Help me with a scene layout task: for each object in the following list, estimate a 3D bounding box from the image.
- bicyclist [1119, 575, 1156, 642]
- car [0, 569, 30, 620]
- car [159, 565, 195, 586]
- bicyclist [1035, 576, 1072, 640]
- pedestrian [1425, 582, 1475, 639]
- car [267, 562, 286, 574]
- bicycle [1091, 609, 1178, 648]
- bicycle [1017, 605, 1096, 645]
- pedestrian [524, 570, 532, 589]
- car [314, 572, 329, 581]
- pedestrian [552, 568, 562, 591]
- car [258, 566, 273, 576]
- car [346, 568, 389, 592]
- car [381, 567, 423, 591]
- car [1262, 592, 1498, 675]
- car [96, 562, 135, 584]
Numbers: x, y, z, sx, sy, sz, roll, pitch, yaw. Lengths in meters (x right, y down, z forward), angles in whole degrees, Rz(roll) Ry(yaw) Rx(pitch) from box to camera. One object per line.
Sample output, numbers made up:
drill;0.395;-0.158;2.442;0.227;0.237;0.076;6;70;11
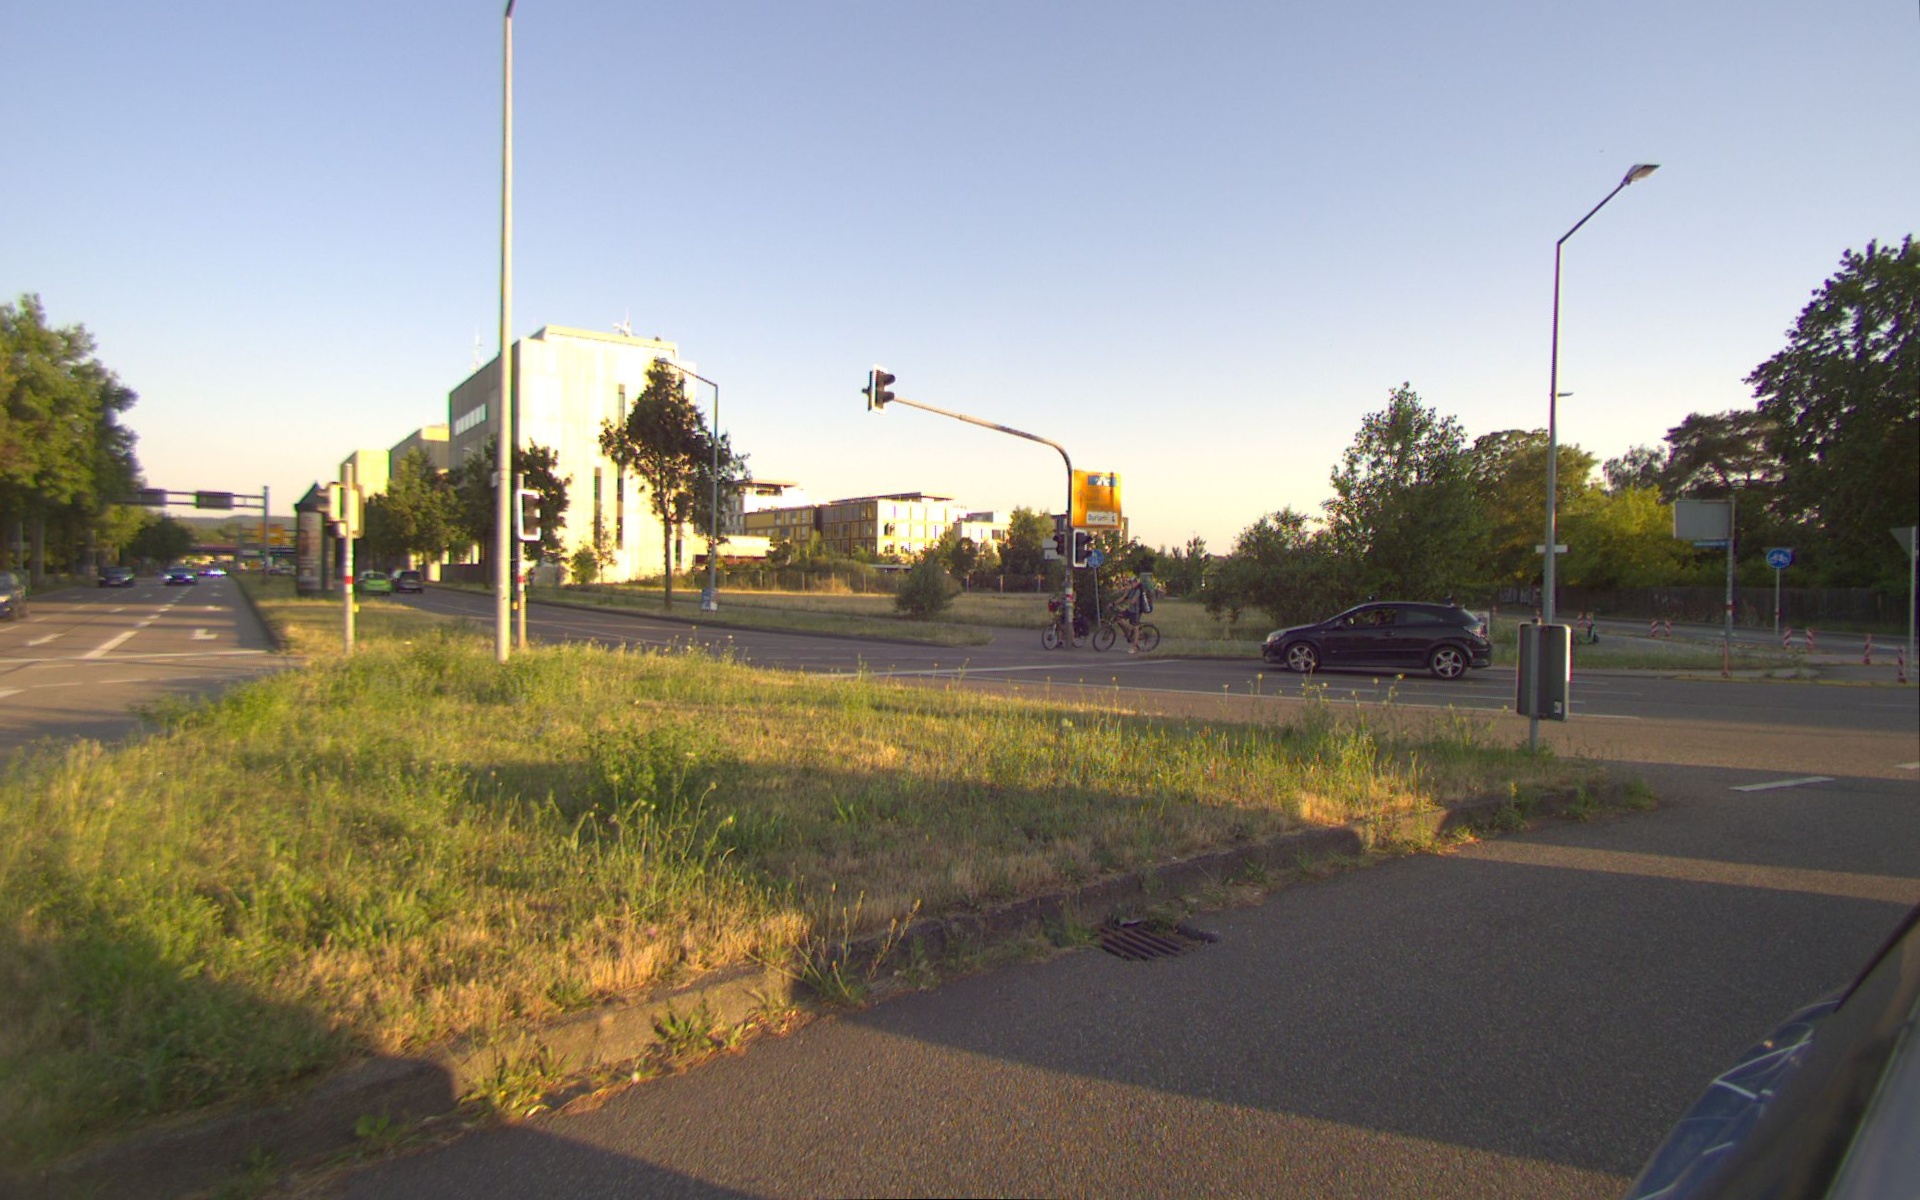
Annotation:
bicyclist;4.606;0.212;26.266;0.674;1.711;0.727;1;1;-13
car;-32.146;-0.215;33.285;1.880;1.603;4.179;0;1;-37
car;-58.917;-1.878;76.191;1.963;1.524;4.771;0;1;-36
bicyclist;2.520;0.211;27.331;0.675;1.711;0.726;0;1;-29
pedestrian;13.981;0.285;28.910;0.974;1.610;0.925;1;1;5
car;-95.778;-4.465;141.883;1.963;1.649;3.998;0;1;-37
bicycle;4.533;0.735;26.245;2.100;0.975;0.711;1;1;-15
bicycle;2.606;0.662;27.350;2.065;0.975;0.711;-2;2;-27
pedestrian;-36.094;-1.707;84.511;0.492;1.531;0.530;0;1;-35
car;-102.399;-3.774;162.242;1.962;1.445;4.200;0;1;-34
pedestrian;-30.293;-1.534;76.101;0.555;1.705;0.520;0;1;-35
car;-119.295;-4.943;173.730;1.963;1.649;3.998;0;1;-37
car;-36.747;-1.274;62.750;1.660;1.437;3.996;-1;2;-40
car;-39.081;-1.481;70.838;1.703;1.597;4.324;0;1;-40
car;8.137;0.578;19.699;4.088;1.396;1.734;1;1;29
car;-60.063;-1.918;71.996;1.964;1.524;4.618;0;1;-38
